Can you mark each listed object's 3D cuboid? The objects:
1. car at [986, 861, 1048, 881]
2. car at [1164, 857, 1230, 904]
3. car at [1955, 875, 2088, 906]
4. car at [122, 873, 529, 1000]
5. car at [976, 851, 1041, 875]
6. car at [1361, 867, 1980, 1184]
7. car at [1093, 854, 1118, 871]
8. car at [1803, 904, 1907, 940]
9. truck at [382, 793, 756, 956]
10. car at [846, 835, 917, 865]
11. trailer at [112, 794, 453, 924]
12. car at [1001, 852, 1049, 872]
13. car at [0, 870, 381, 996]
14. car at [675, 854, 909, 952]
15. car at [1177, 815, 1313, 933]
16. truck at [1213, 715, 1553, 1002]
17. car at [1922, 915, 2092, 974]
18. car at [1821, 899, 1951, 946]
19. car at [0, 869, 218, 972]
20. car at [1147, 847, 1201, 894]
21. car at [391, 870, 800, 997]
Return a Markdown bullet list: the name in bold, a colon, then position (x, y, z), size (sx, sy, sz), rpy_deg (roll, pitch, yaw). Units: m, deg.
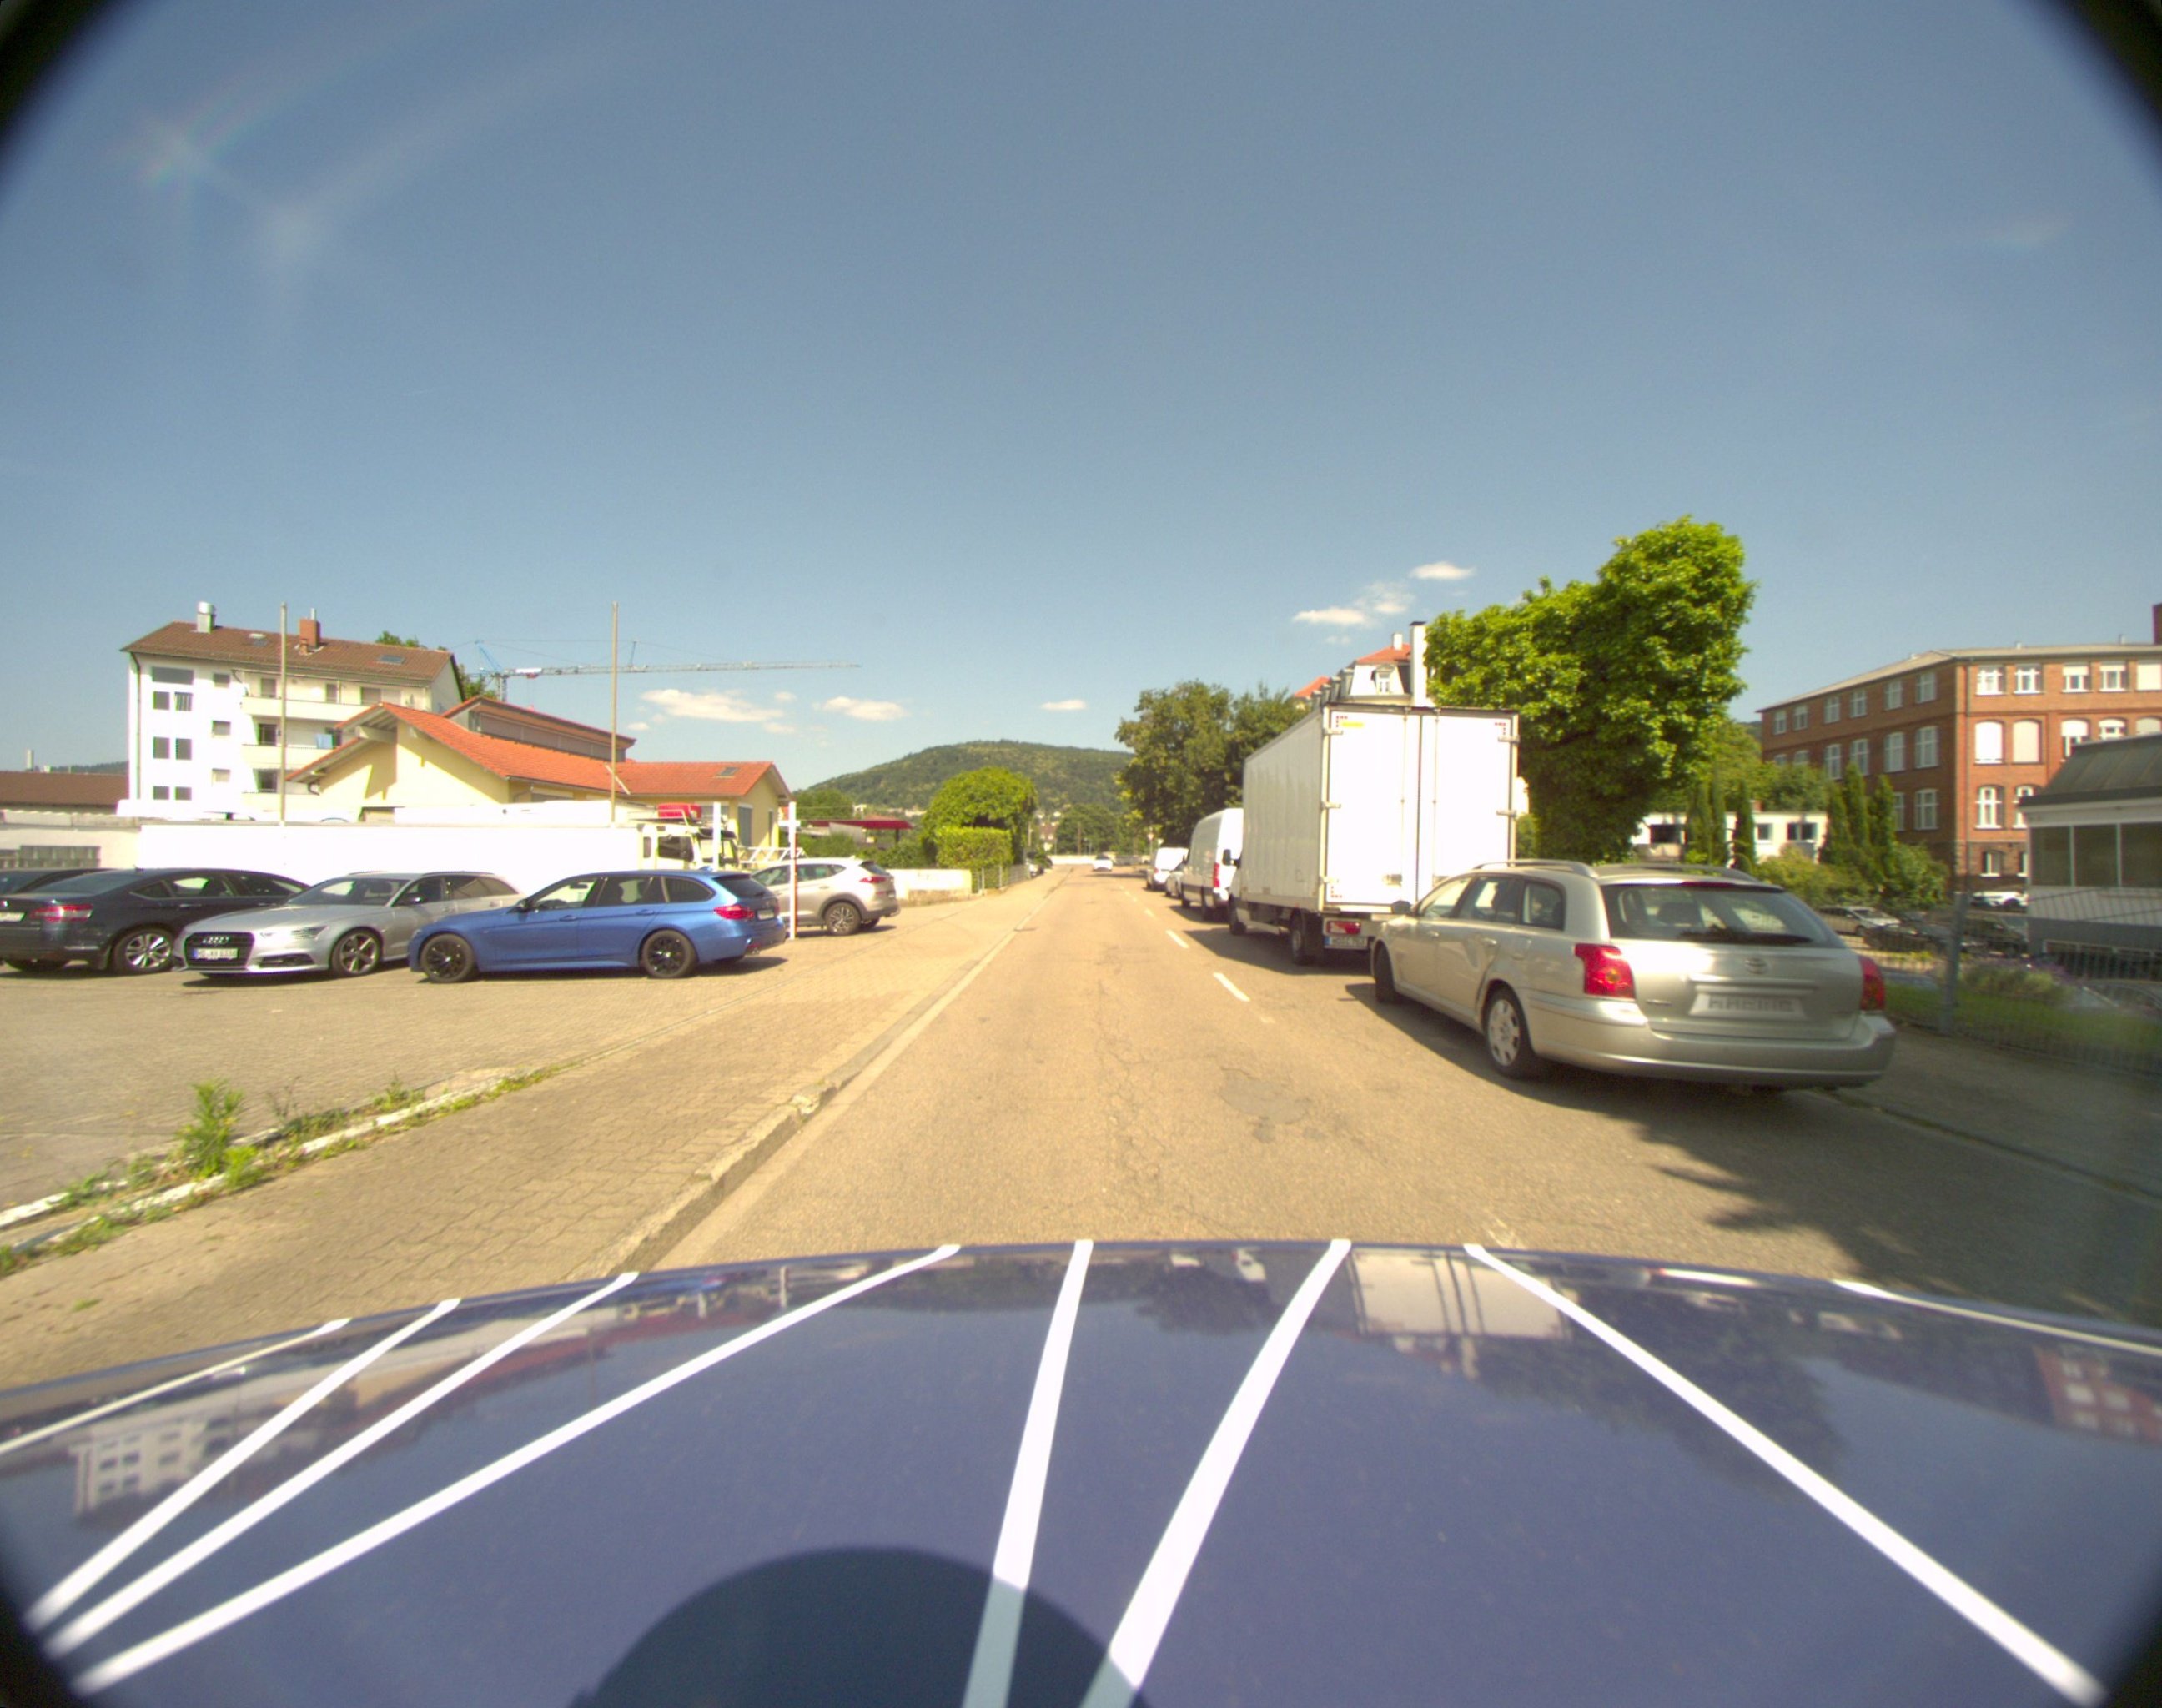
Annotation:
- **car**: position (-4.743, 1.258, 56.815), size (4.414, 1.488, 1.897), rpy_deg (0, 1, 0)
- **car**: position (4.310, 0.936, 28.876), size (1.718, 1.535, 4.399), rpy_deg (1, 1, -2)
- **car**: position (55.209, 2.131, 44.704), size (4.595, 1.668, 2.117), rpy_deg (0, 1, 10)
- **car**: position (-10.951, 1.074, 11.629), size (1.891, 1.433, 4.454), rpy_deg (0, 0, -2)
- **car**: position (-5.121, 0.648, 54.174), size (4.414, 1.519, 1.896), rpy_deg (2, 1, -2)
- **car**: position (3.805, 0.914, 6.062), size (1.745, 1.512, 4.311), rpy_deg (1, 0, 3)
- **car**: position (2.263, 0.780, 72.126), size (1.896, 1.412, 4.168), rpy_deg (2, 1, -4)
- **car**: position (44.848, 3.883, 44.181), size (1.819, 1.667, 4.606), rpy_deg (2, 0, 9)
- **truck**: position (-12.590, 0.489, 19.134), size (7.536, 3.403, 2.527), rpy_deg (-3, 1, 1)
- **car**: position (-18.237, -0.320, 69.543), size (6.026, 2.663, 2.255), rpy_deg (0, 1, -22)
- **trailer**: position (-25.479, 0.142, 24.487), size (8.350, 3.841, 3.069), rpy_deg (0, 1, 6)
- **car**: position (-4.573, 0.646, 62.303), size (3.812, 1.614, 1.759), rpy_deg (0, 0, -1)
- **car**: position (-13.679, 1.031, 11.625), size (1.890, 1.433, 4.188), rpy_deg (1, 0, 4)
- **car**: position (-6.075, 0.993, 16.339), size (4.211, 1.672, 1.766), rpy_deg (-4, 1, 0)
- **car**: position (4.059, 0.400, 20.278), size (2.173, 2.581, 6.919), rpy_deg (1, 1, 1)
- **truck**: position (4.159, 0.023, 12.480), size (2.692, 3.347, 7.128), rpy_deg (0, 1, 0)
- **car**: position (41.090, 3.961, 33.955), size (1.997, 2.010, 4.930), rpy_deg (2, 0, 9)
- **car**: position (37.236, 3.108, 35.315), size (1.997, 1.674, 4.001), rpy_deg (2, 1, 7)
- **car**: position (-16.540, 0.995, 11.661), size (1.890, 1.384, 4.028), rpy_deg (1, 0, 4)
- **car**: position (4.319, 0.713, 36.054), size (1.976, 2.002, 5.056), rpy_deg (1, 1, 1)
- **car**: position (-6.419, 1.015, 10.440), size (4.364, 1.433, 1.892), rpy_deg (-2, 0, 0)
